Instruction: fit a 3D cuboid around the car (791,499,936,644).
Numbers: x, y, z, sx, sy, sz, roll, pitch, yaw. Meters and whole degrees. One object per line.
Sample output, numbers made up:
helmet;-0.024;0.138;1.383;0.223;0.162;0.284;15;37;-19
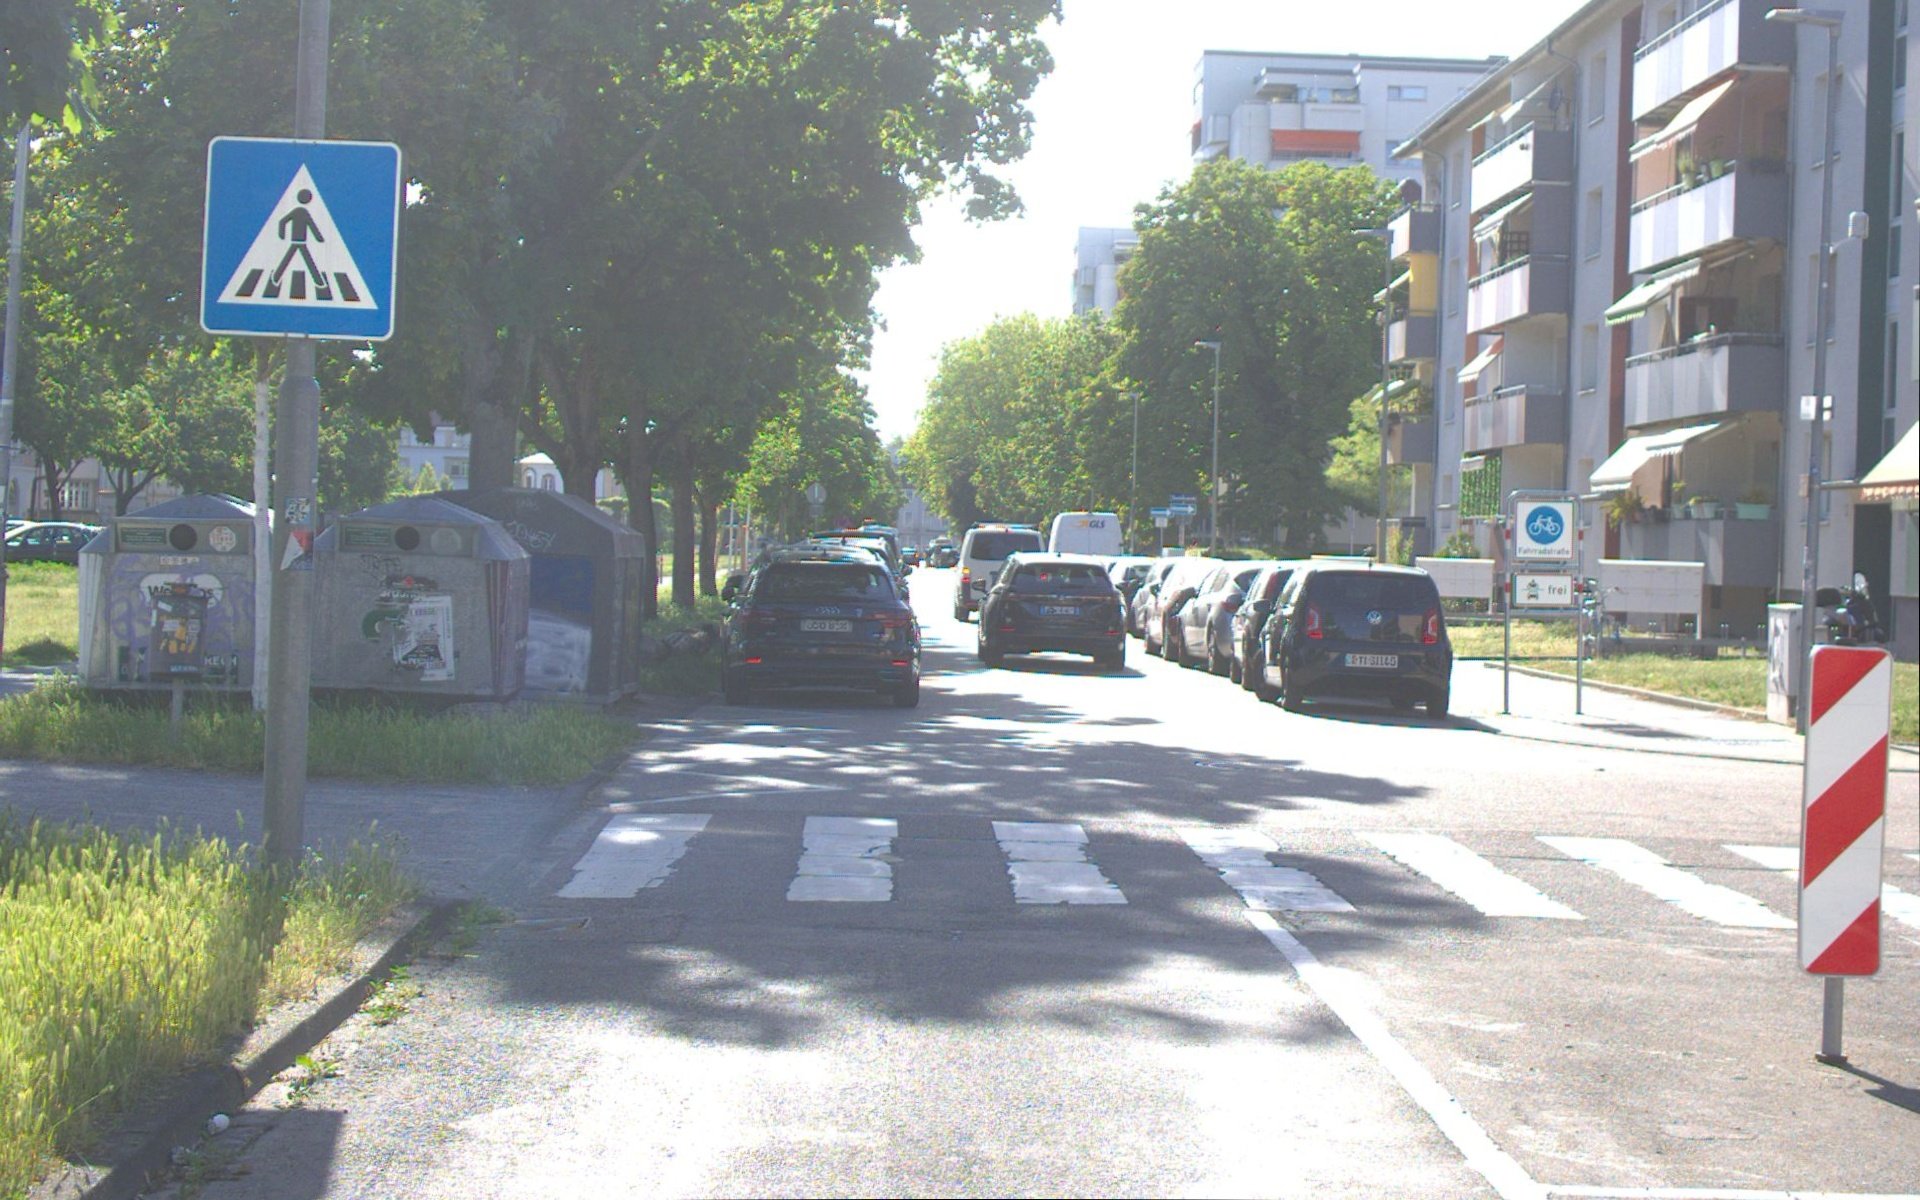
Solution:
car;-1.369;-0.431;50.133;1.993;2.007;4.000;1;1;-1

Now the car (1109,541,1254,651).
car;3.232;-0.093;50.824;1.794;1.505;4.000;2;1;-1

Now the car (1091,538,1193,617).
car;3.681;-0.488;70.073;1.794;1.505;4.000;2;1;-1

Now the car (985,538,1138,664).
car;1.284;-0.023;45.013;1.794;1.505;4.000;2;1;-1

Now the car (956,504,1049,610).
car;0.874;-0.922;72.199;1.794;2.115;4.000;2;1;-1

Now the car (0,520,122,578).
car;-25.973;-1.462;97.554;3.986;1.505;1.800;2;1;-4

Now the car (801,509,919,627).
car;-1.748;-0.589;61.391;1.993;2.007;4.000;1;1;-1

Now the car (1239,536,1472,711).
car;3.925;0.188;34.688;1.794;1.595;4.000;2;1;-1

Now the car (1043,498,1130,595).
car;3.394;-1.461;93.108;1.993;2.422;4.500;4;1;-1

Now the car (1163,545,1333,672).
car;3.696;0.078;44.747;1.794;1.505;4.000;2;1;-1

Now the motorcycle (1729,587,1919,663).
motorcycle;11.918;0.342;47.054;2.558;0.932;0.830;2;1;-3

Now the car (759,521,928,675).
car;-1.292;-0.057;39.537;1.794;1.619;4.000;2;1;-1

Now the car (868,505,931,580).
car;-2.065;-2.004;118.960;1.993;2.422;4.500;4;1;-1

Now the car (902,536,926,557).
car;-3.485;-4.061;259.839;1.794;1.505;4.000;1;1;-1

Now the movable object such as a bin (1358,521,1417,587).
movable object such as a bin;10.169;-1.097;81.885;1.091;1.505;2.002;2;1;-1

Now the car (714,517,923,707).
car;-1.279;0.066;32.567;1.794;1.619;4.000;2;1;-1

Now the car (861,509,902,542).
car;-3.587;-3.402;157.367;1.794;1.505;4.000;1;1;-1

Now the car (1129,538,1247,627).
car;4.100;-0.344;62.330;1.794;1.505;4.000;2;1;-1
